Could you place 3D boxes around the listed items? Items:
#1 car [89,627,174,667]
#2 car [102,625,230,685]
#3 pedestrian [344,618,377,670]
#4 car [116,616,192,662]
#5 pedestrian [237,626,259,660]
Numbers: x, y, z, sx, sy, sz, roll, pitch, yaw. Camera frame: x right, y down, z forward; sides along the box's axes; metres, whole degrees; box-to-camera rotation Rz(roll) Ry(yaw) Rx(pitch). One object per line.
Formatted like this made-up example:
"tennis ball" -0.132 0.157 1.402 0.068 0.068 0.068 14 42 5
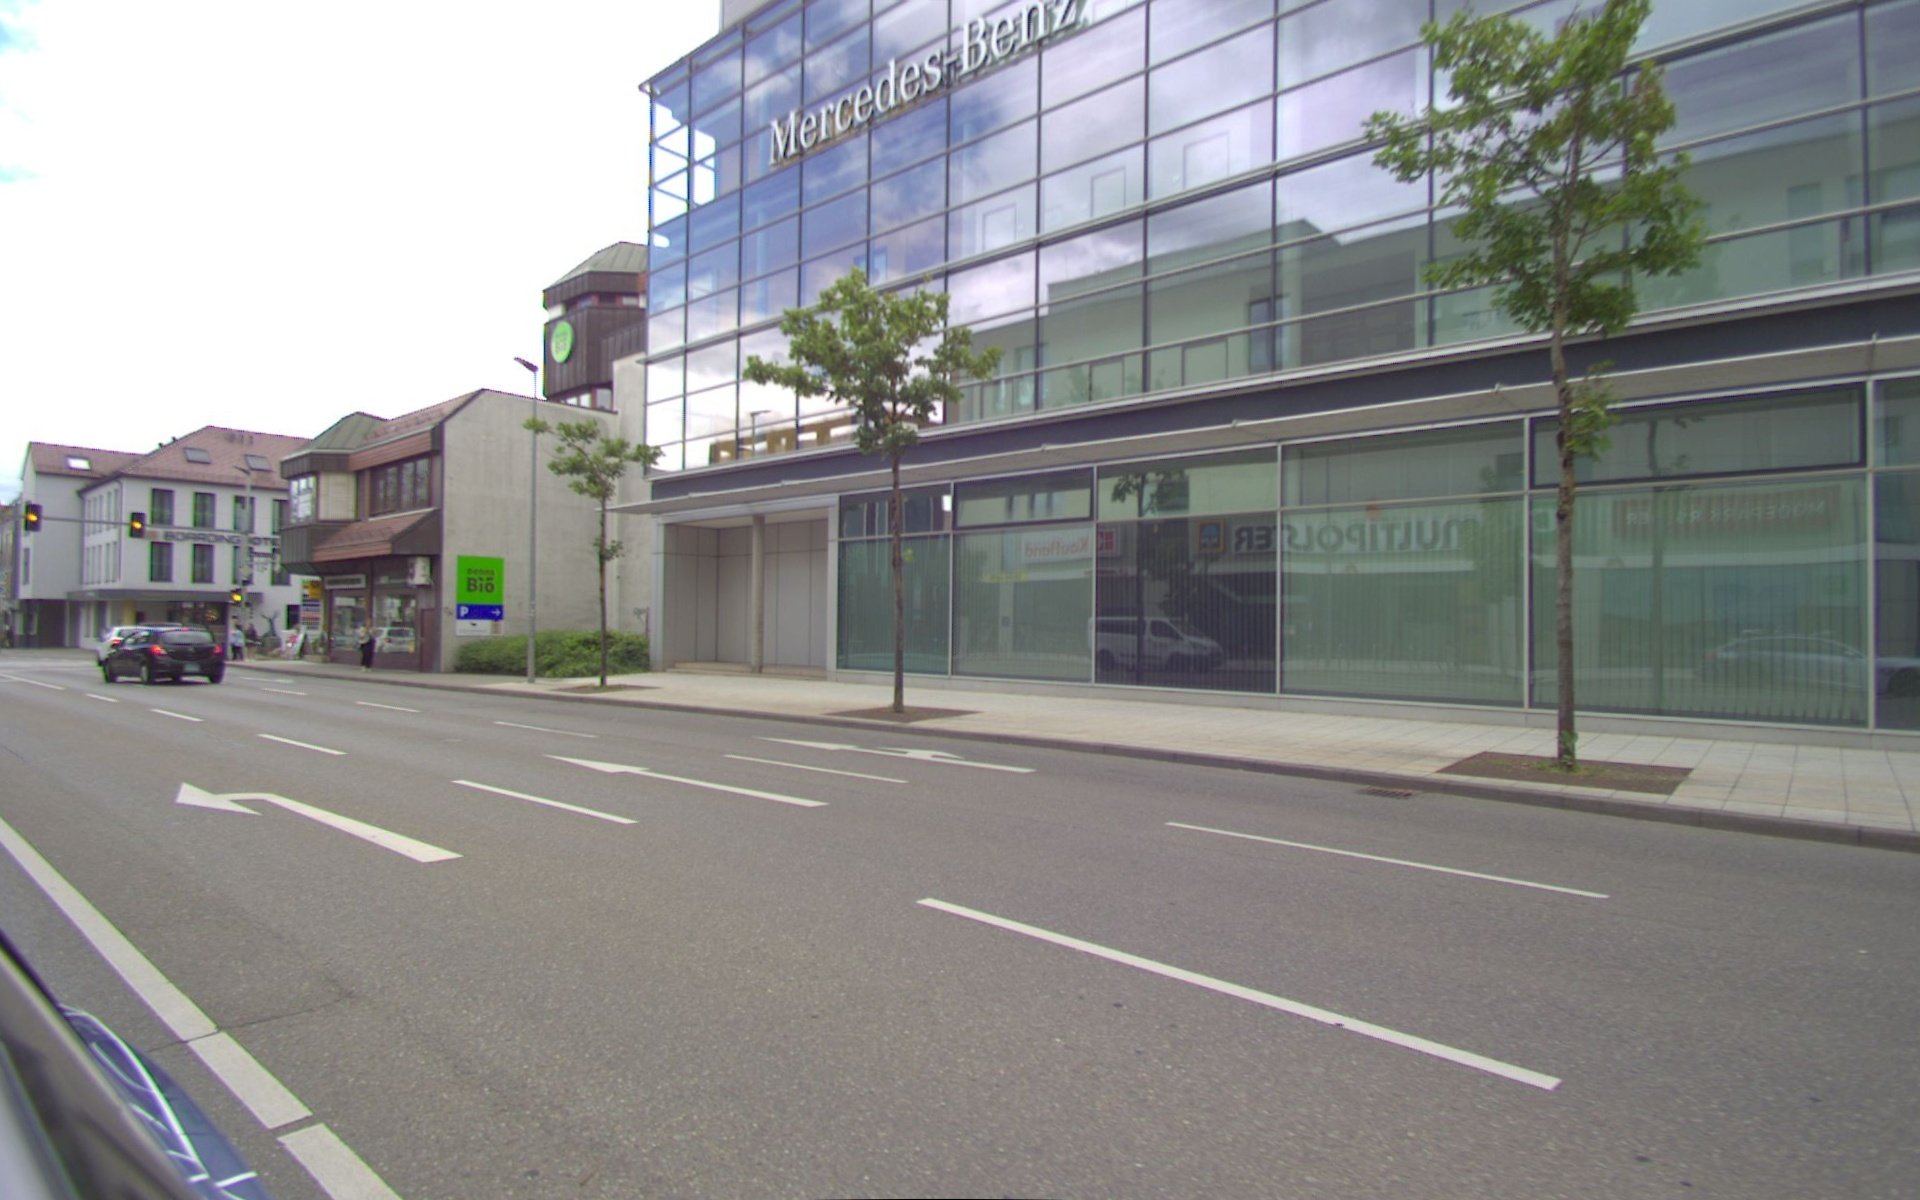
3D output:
"car" -32.018 1.771 39.086 3.999 1.478 1.912 -1 -2 42
"car" -20.955 1.392 26.659 3.995 1.478 1.780 -1 -2 39
"pedestrian" -18.937 1.384 31.965 0.693 1.636 0.693 -1 -2 41
"car" -34.781 1.652 43.644 3.999 1.909 1.912 -1 -2 42
"pedestrian" -31.625 1.907 44.960 0.577 1.527 0.552 0 -2 8
